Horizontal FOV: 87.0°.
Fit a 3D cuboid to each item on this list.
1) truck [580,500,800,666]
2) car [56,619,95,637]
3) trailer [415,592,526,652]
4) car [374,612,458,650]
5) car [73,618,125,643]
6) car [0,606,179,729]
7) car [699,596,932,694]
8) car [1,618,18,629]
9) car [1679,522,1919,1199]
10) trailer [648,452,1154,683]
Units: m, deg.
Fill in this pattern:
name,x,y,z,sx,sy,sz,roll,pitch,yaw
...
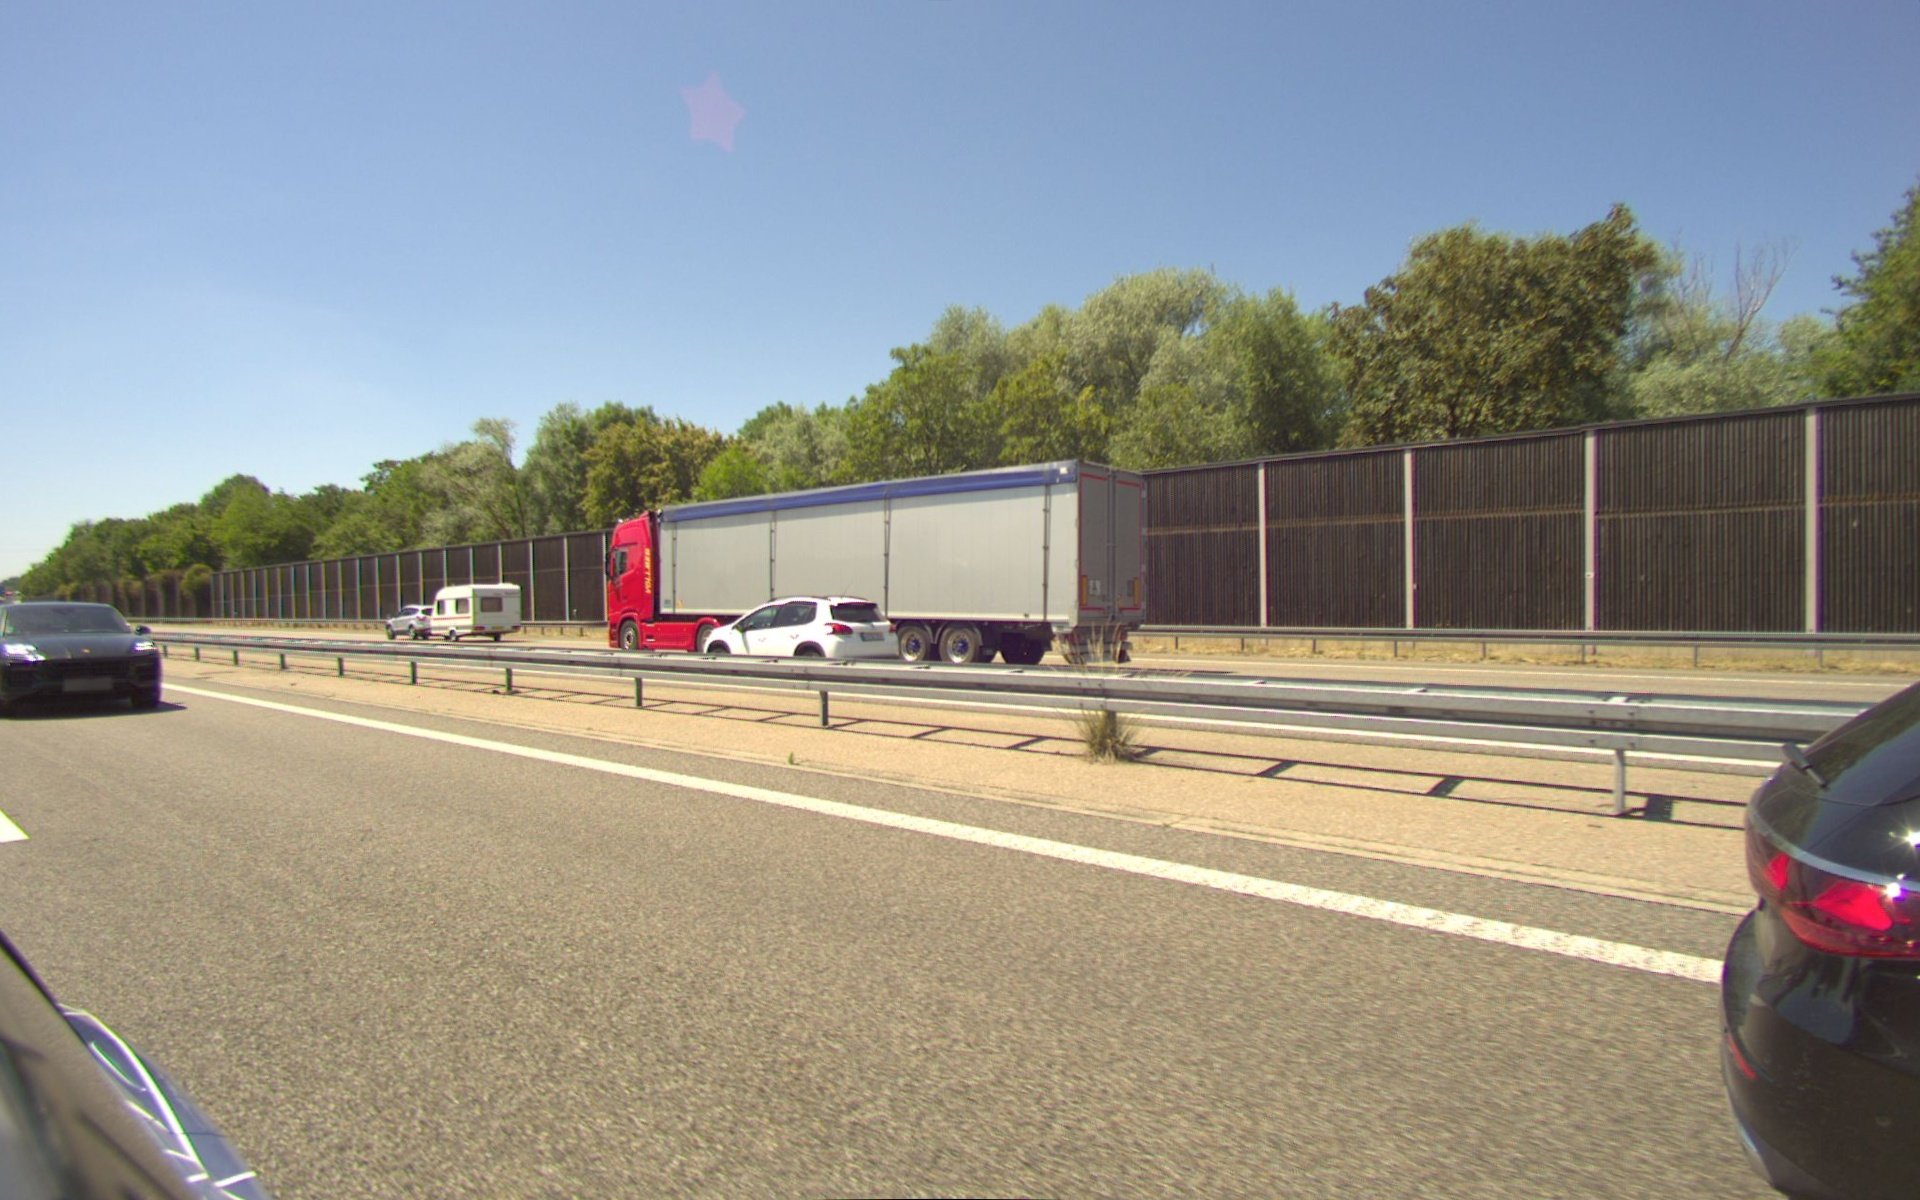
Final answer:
name,x,y,z,sx,sy,sz,roll,pitch,yaw
truck,-7.705,-0.358,28.263,7.149,4.107,2.333,-1,-1,41
car,-83.421,2.631,95.434,5.980,1.534,2.102,-1,-1,42
trailer,-21.952,0.973,45.214,6.263,2.495,2.109,-1,-1,40
car,-26.248,1.468,48.775,4.902,1.724,1.880,-1,-1,40
car,-54.723,1.944,64.302,4.416,1.532,1.879,-1,-1,41
car,-14.411,0.955,16.099,5.768,1.637,2.023,-1,-1,41
car,-2.655,0.741,18.014,4.243,1.555,1.786,-1,-1,41
car,-180.493,4.401,192.152,5.385,2.029,1.972,-1,-1,43
car,4.115,0.591,0.652,5.816,1.518,1.924,-1,-1,40
trailer,-2.327,-0.465,23.563,14.201,4.107,2.317,-1,-1,41
